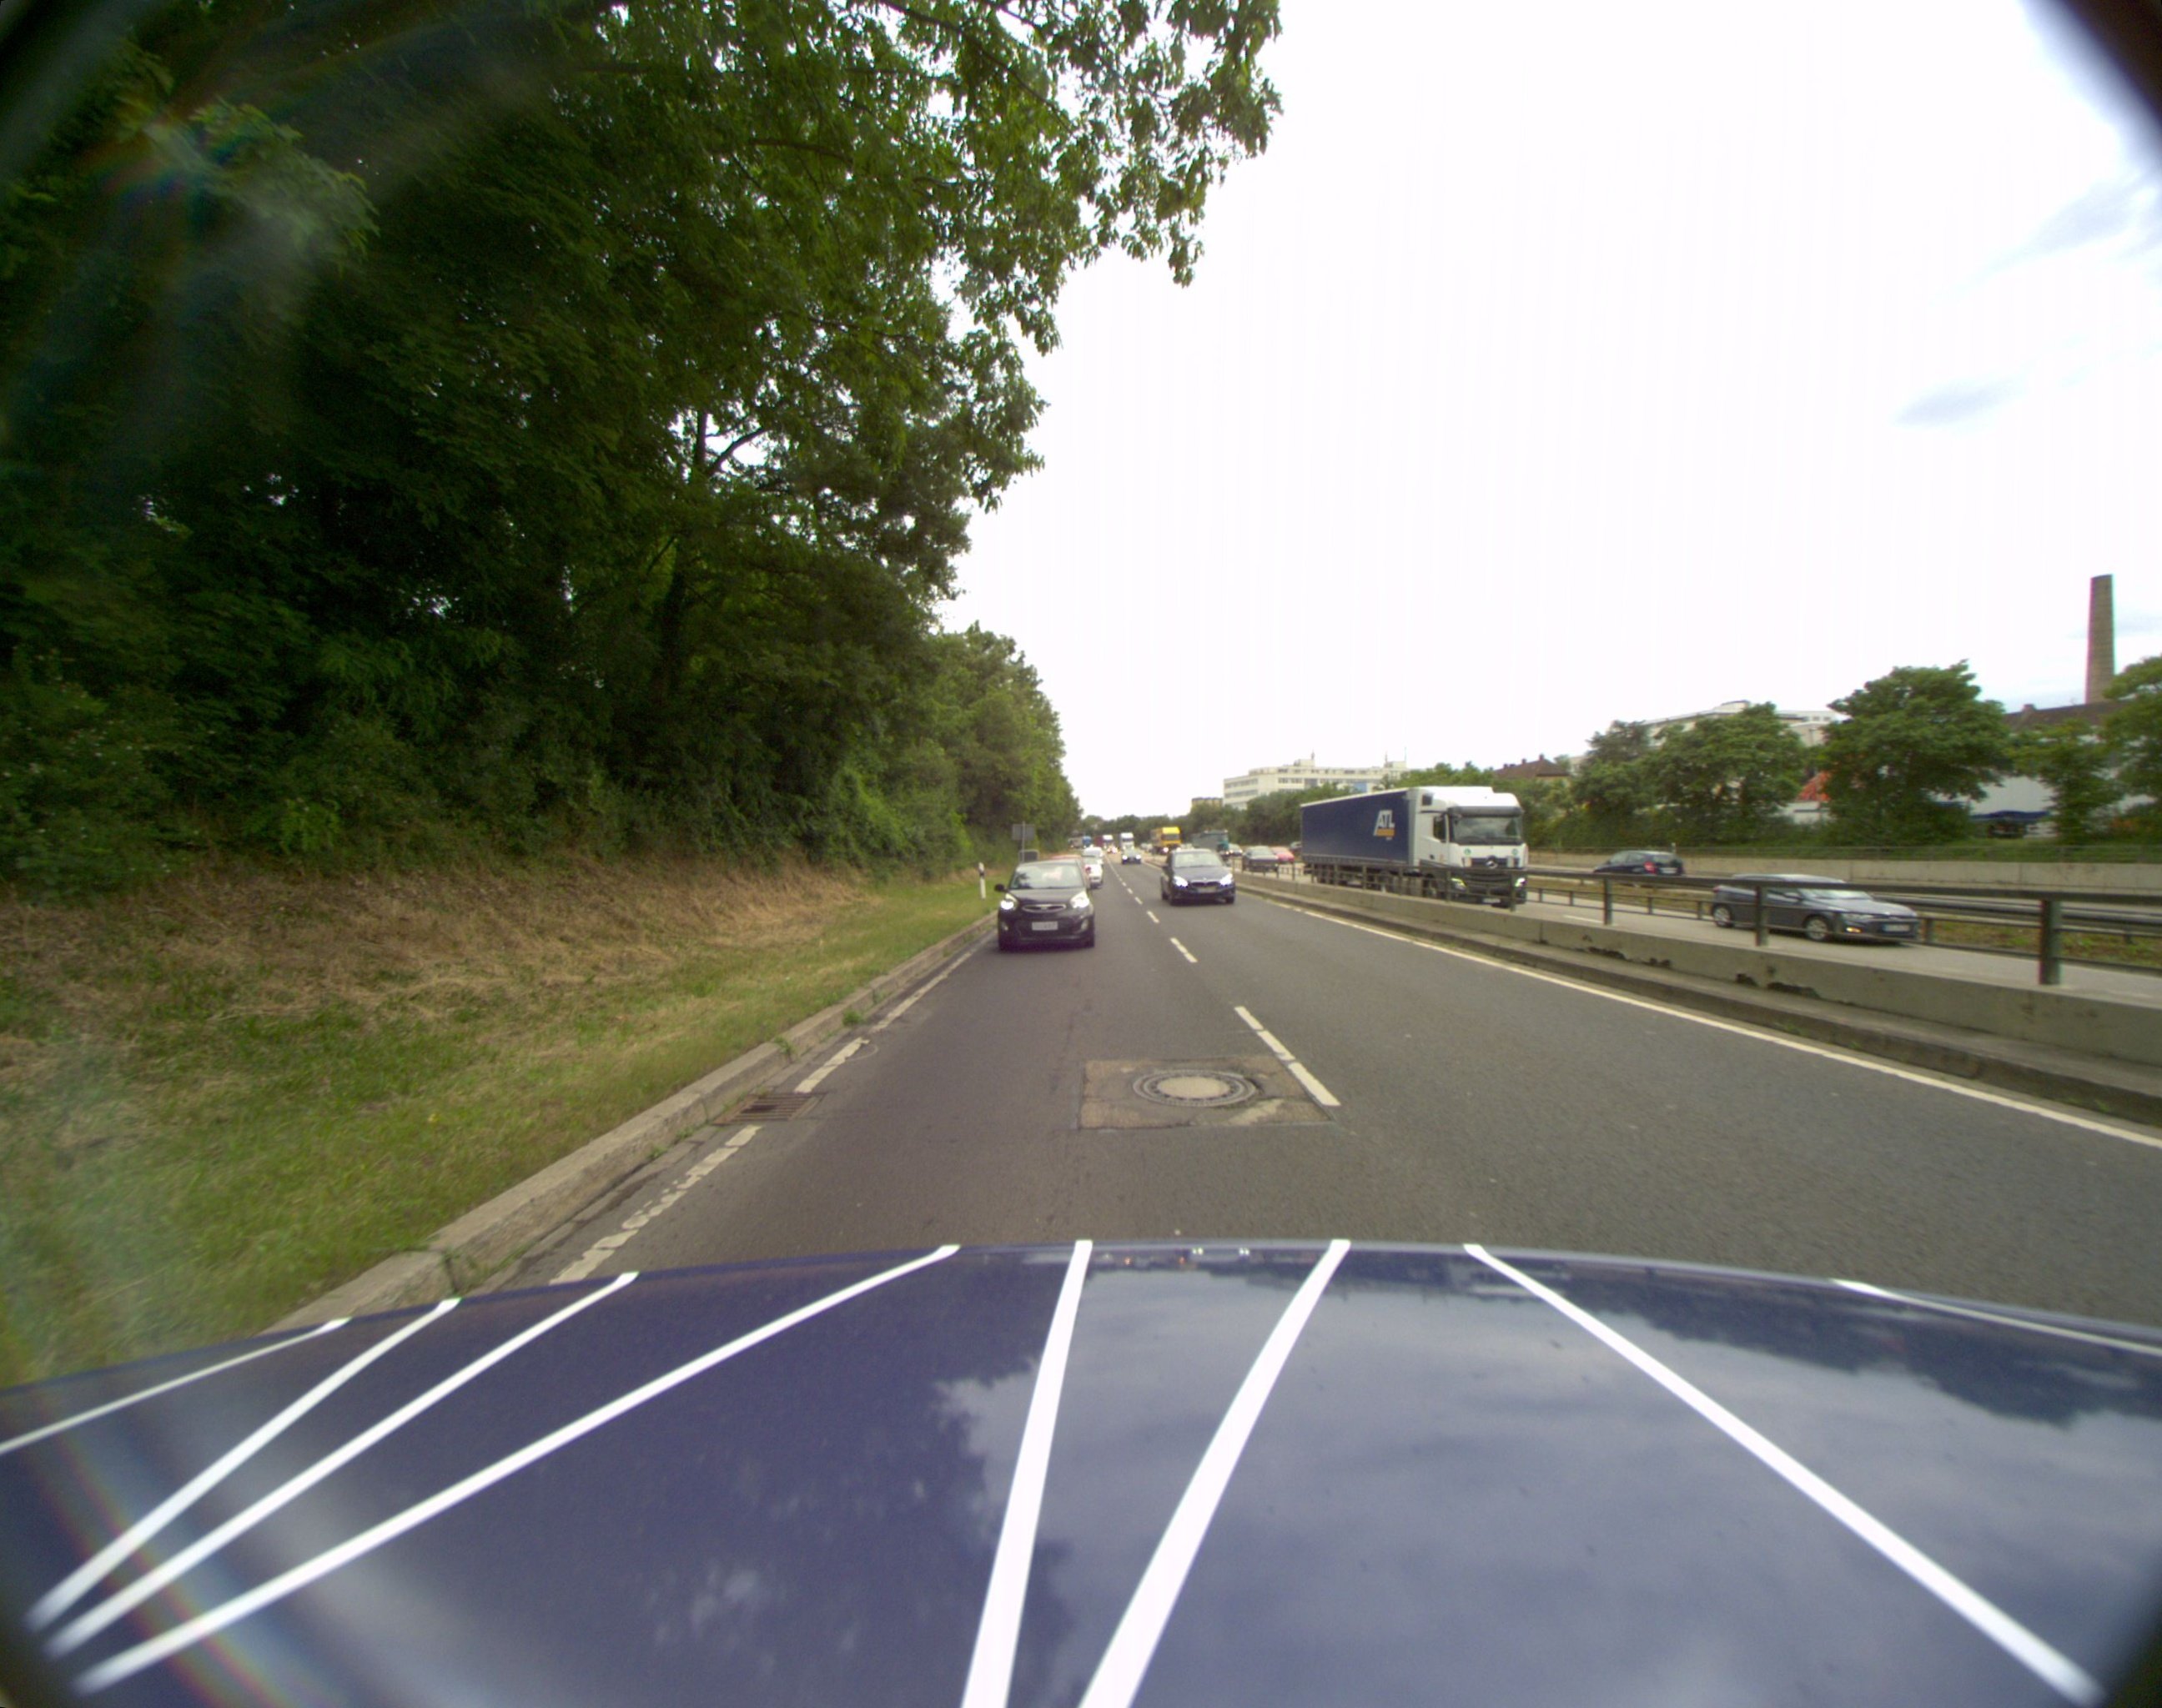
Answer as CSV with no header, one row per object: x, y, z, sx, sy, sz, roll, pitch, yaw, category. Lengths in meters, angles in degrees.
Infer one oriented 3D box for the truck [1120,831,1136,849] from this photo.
11.144,-3.369,181.420,2.957,4.013,13.776,0,1,0,truck

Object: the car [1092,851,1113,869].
1.802,0.506,64.015,1.627,1.337,3.999,-2,1,1,car

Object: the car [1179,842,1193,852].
16.982,-1.190,123.074,1.784,1.554,4.421,-2,1,1,car

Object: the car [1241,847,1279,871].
12.090,0.310,51.471,1.627,1.433,3.999,-2,1,1,car

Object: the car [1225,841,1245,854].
18.616,-0.828,91.966,1.627,1.433,3.999,-2,1,1,car

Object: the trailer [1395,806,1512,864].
28.765,-1.408,59.789,2.531,4.013,13.774,0,1,0,trailer

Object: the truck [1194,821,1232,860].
13.061,-1.344,75.557,2.645,3.615,6.666,0,1,1,truck

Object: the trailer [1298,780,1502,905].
12.415,-0.474,31.960,2.531,4.013,14.781,0,1,1,trailer

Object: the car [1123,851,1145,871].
5.146,0.634,74.337,1.769,1.786,4.577,-2,1,1,car

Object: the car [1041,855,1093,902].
-0.435,0.818,26.949,1.627,1.433,3.999,-2,1,1,car

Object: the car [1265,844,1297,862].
16.887,-0.105,64.365,1.627,1.433,3.999,-2,1,1,car

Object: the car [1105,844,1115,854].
5.597,-0.989,145.989,1.769,1.786,4.577,-2,1,1,car

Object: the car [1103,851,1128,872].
2.462,0.505,55.283,1.627,1.337,3.999,-2,1,1,car

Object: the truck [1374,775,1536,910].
12.333,-0.377,25.734,2.531,4.014,6.096,0,1,1,truck

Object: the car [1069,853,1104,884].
0.297,0.684,38.301,1.627,1.337,3.999,-2,1,1,car

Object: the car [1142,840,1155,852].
12.376,-1.444,139.619,1.998,2.002,3.999,-2,1,1,car

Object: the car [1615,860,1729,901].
24.111,1.033,31.204,1.628,1.433,3.896,0,1,0,car

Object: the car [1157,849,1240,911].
3.346,0.664,22.426,1.784,1.554,4.421,-2,1,1,car

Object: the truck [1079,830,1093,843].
1.618,-5.886,255.750,2.533,4.013,13.766,-1,1,-8,truck

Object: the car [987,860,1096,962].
-0.585,0.910,13.786,1.627,1.433,3.999,-2,1,1,car

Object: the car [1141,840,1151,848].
15.825,-2.489,184.352,1.998,2.002,3.999,0,1,0,car

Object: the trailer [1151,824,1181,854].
13.253,-2.280,120.338,2.898,4.329,19.919,0,1,1,trailer

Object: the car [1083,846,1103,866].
1.166,0.174,73.363,1.769,1.786,4.577,-2,1,1,car

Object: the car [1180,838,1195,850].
19.154,-1.803,136.792,1.998,2.002,4.000,-2,1,1,car

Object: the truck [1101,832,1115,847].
7.699,-4.131,217.840,2.532,4.013,13.769,-1,1,-5,truck

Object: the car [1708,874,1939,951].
17.185,1.288,17.885,1.627,1.433,3.896,0,1,1,car

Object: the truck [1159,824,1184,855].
13.173,-2.130,111.266,2.893,4.319,6.518,0,1,1,truck

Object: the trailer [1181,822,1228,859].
13.161,-1.441,82.648,2.613,3.620,16.747,0,1,1,trailer
